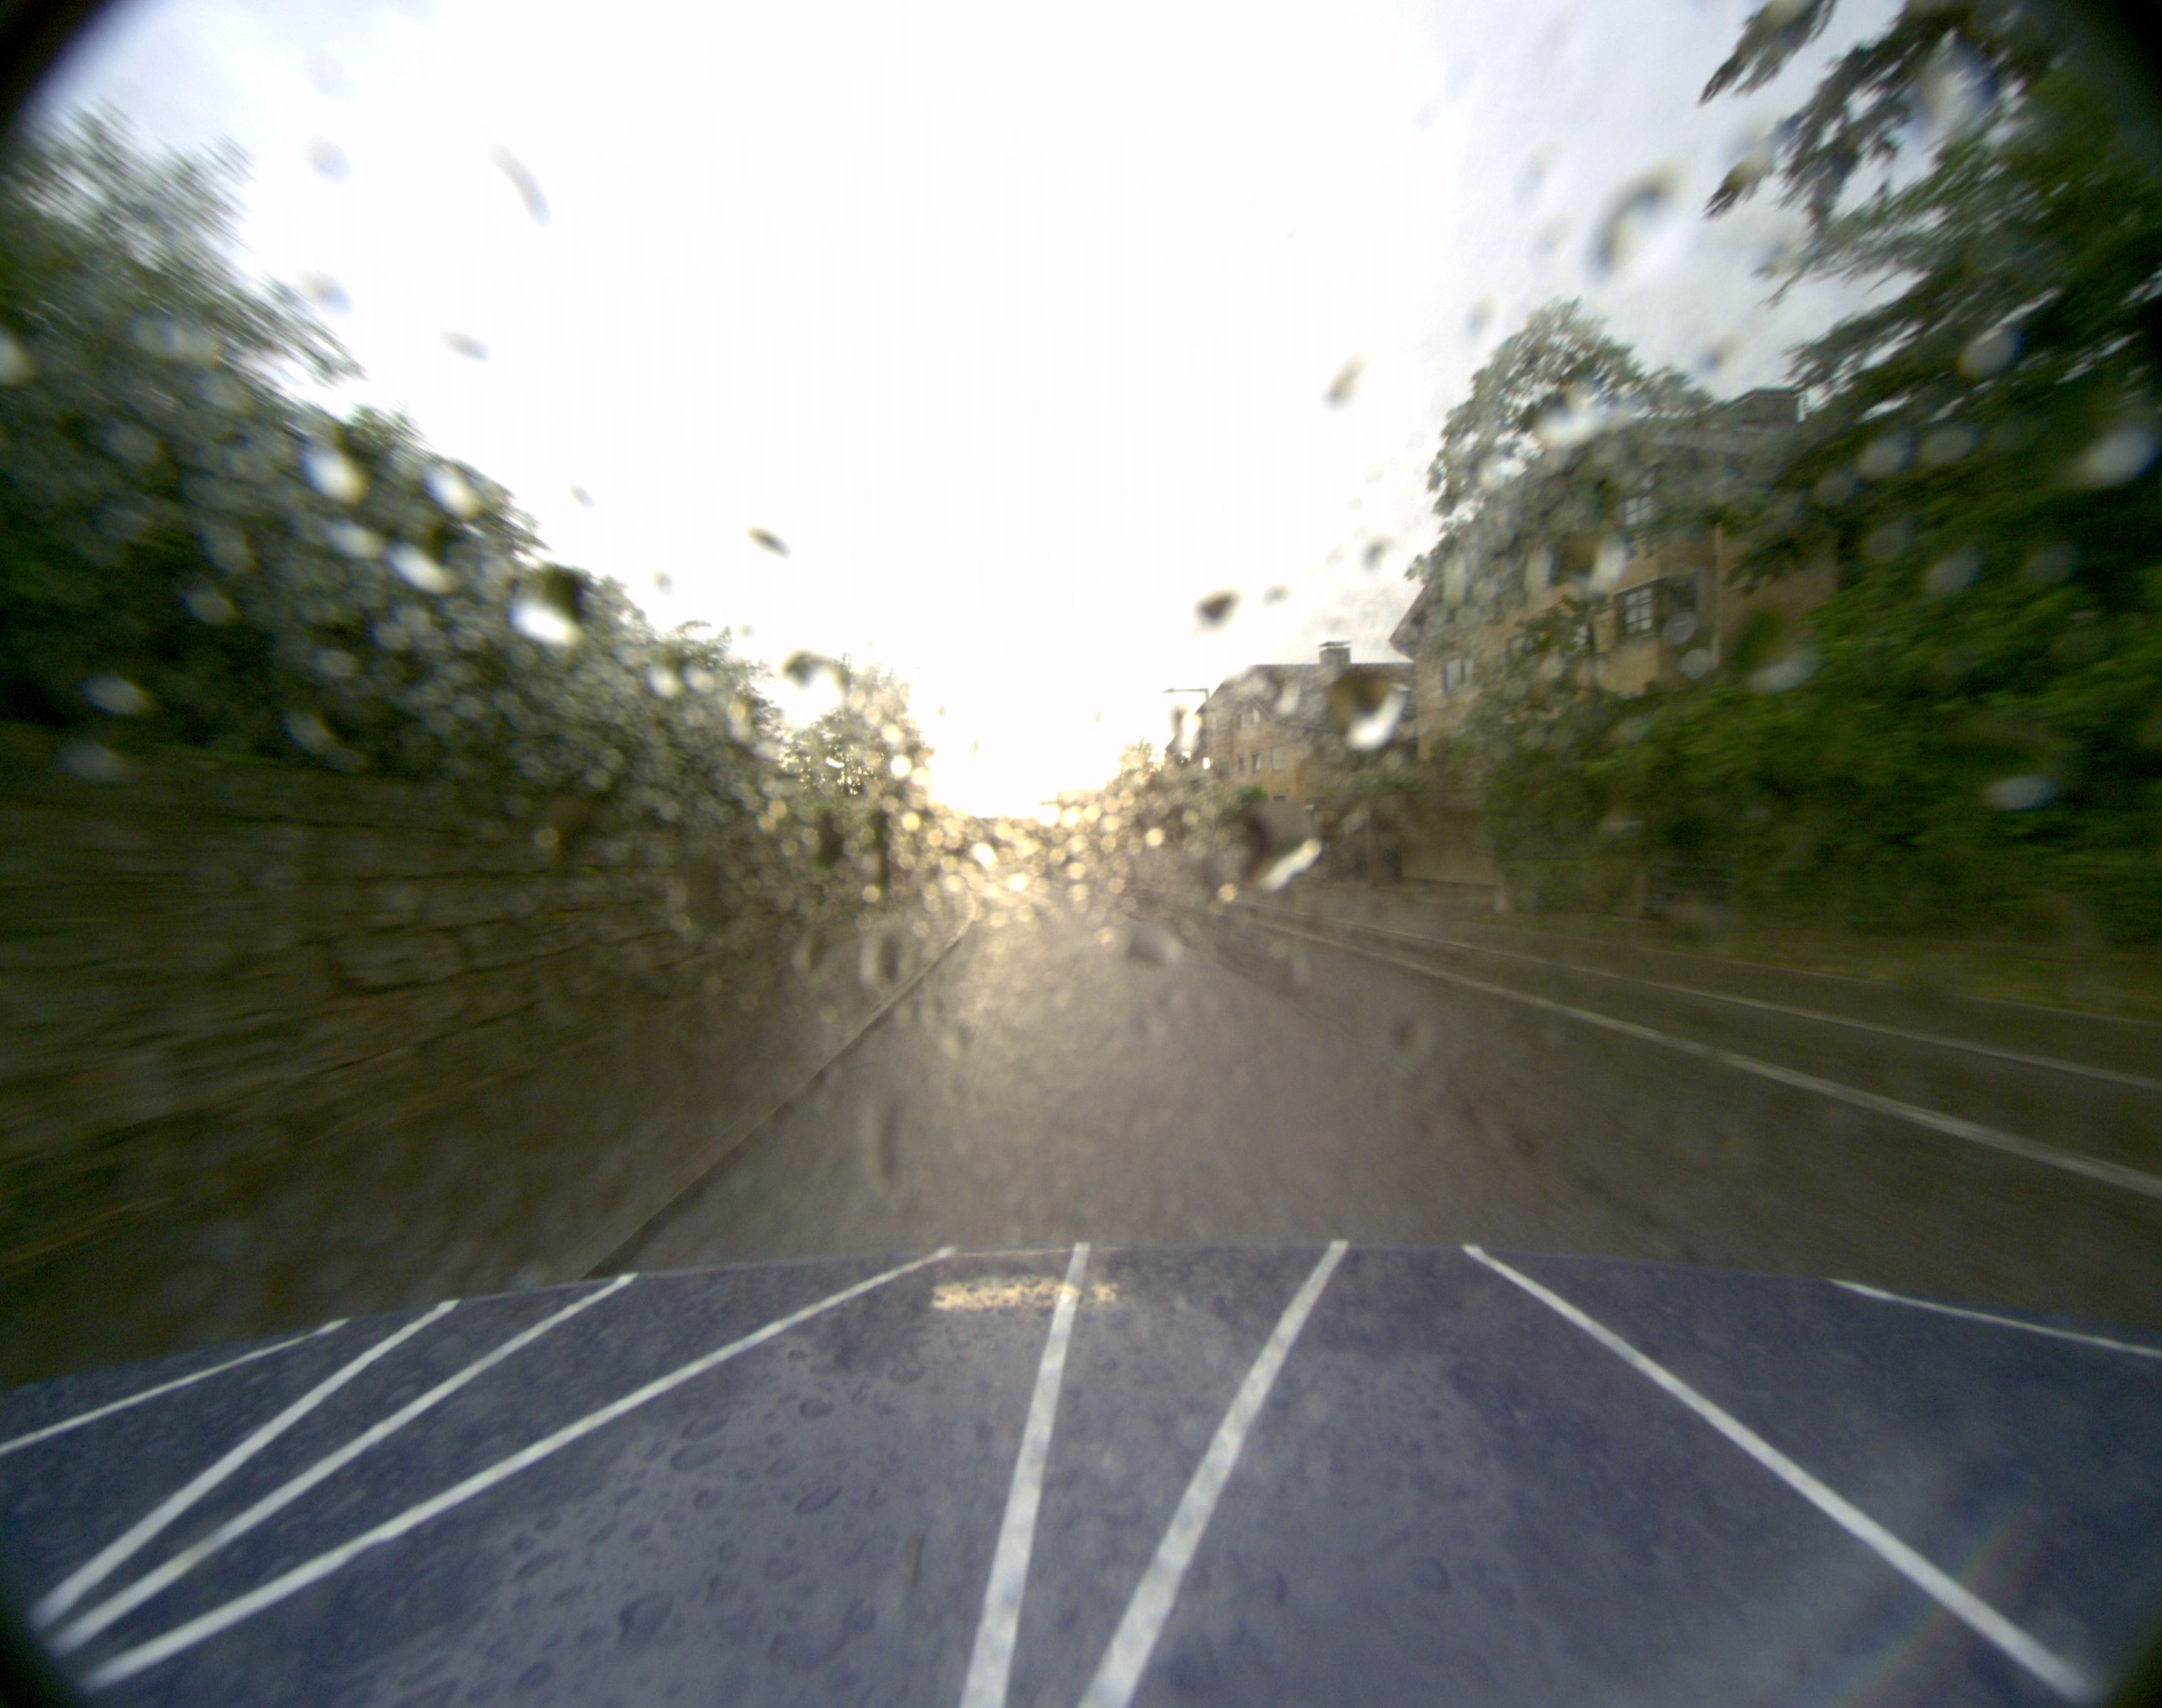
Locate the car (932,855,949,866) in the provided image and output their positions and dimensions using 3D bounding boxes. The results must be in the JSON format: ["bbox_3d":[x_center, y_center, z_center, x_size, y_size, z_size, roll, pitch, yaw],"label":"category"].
[{"bbox_3d":[-19.303,0.885,104.349,2.000,1.446,3.997,-2,1,-8],"label":"car"}]

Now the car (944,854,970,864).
[{"bbox_3d":[-19.839,0.729,121.677,3.999,1.446,1.999,-2,1,-6],"label":"car"}]
